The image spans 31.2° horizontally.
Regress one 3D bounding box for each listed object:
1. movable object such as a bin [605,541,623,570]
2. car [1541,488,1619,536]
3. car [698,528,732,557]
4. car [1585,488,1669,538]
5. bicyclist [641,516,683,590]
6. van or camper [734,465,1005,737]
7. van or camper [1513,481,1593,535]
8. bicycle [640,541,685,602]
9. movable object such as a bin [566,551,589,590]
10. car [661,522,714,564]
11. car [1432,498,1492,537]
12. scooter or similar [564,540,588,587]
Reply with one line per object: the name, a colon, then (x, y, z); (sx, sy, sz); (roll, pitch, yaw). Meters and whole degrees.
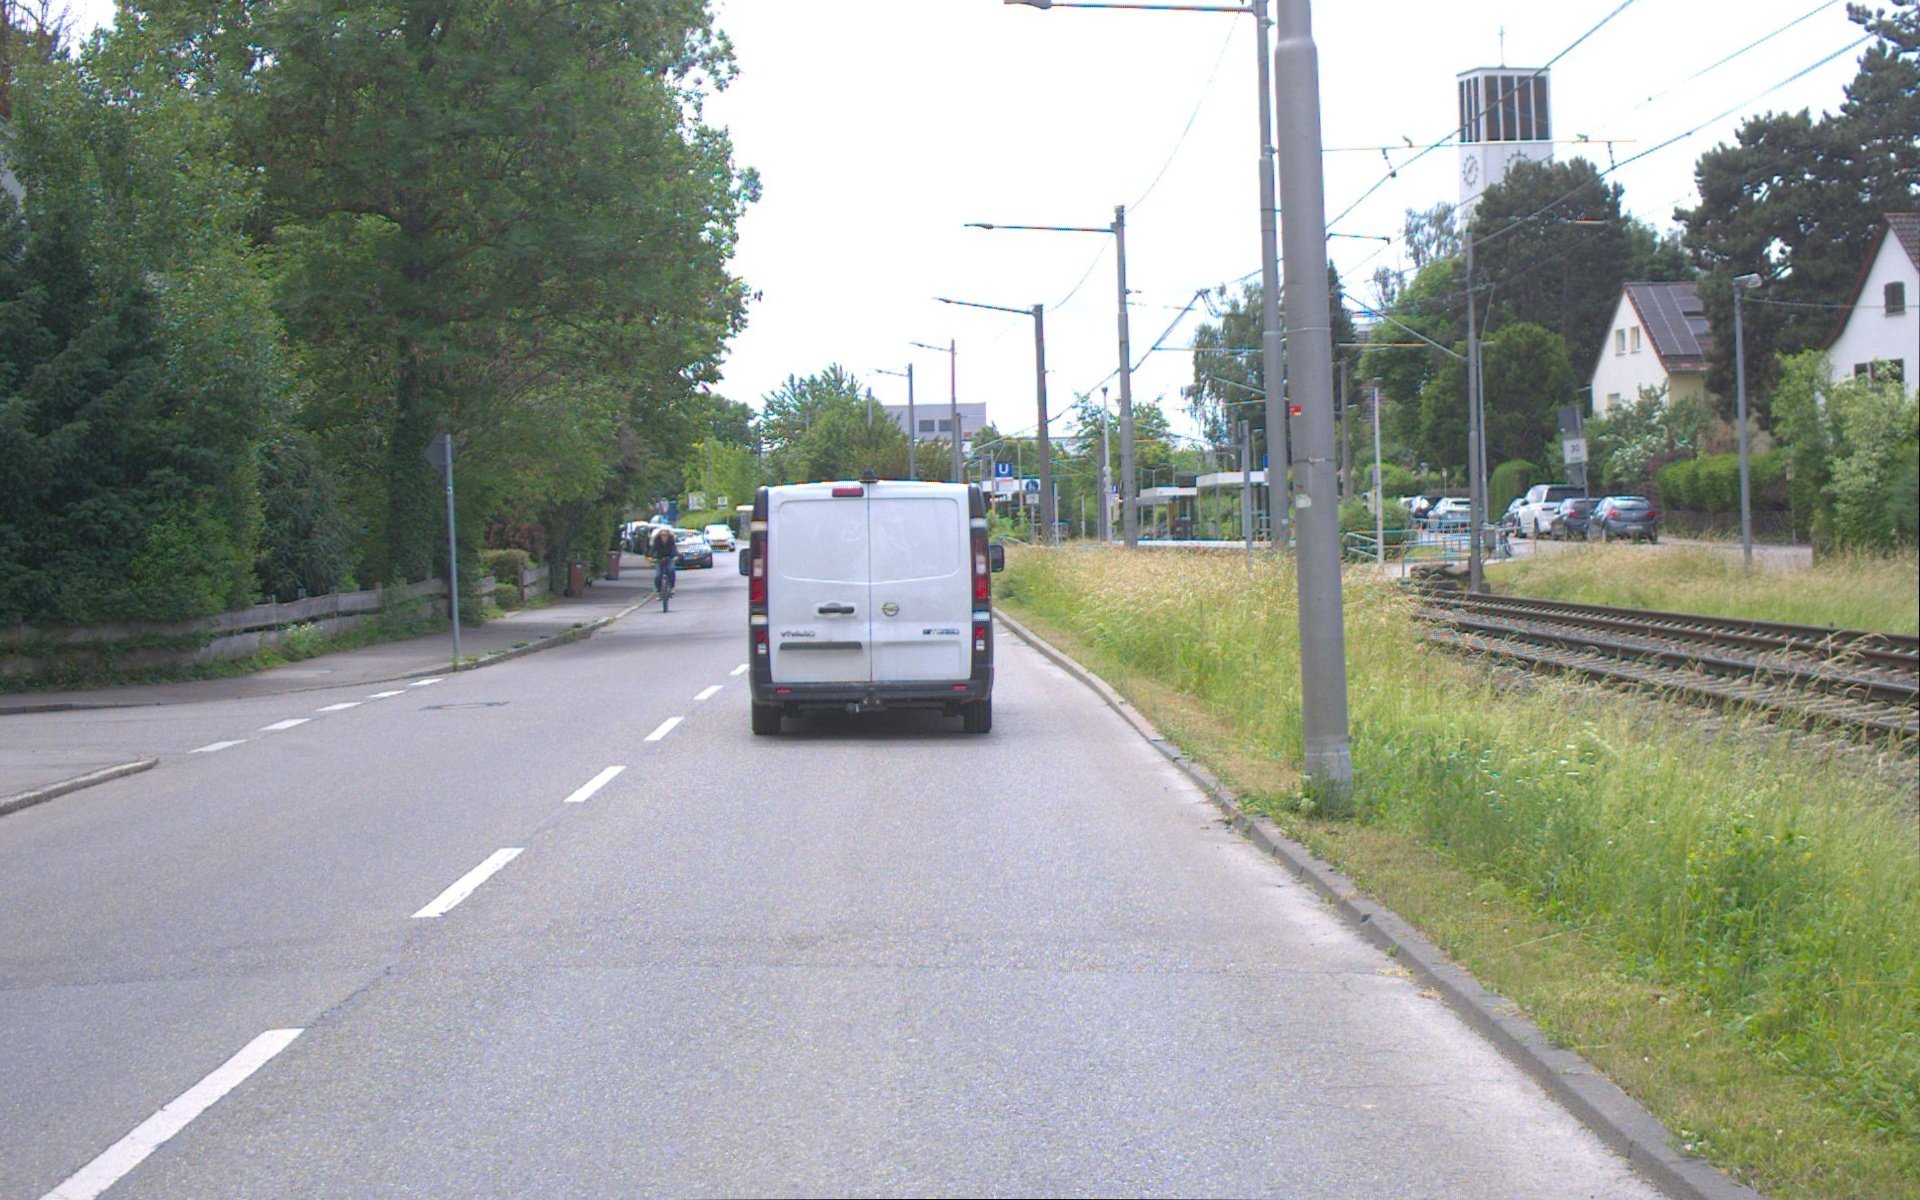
movable object such as a bin: (-11.311, -1.469, 112.444); (0.462, 0.927, 0.430); (2, 0, -18)
car: (20.859, -2.960, 115.825); (1.883, 1.517, 4.000); (-1, 1, 0)
car: (-13.059, -3.072, 183.313); (1.693, 1.425, 3.787); (-3, 1, -4)
car: (21.273, -2.781, 109.778); (1.883, 1.517, 4.000); (-1, 1, 0)
bicyclist: (-6.339, -1.003, 73.133); (0.778, 1.544, 0.870); (-2, 1, -1)
van or camper: (-0.688, -0.027, 27.571); (1.993, 2.007, 4.446); (0, 1, -1)
van or camper: (20.769, -3.231, 120.640); (1.905, 1.819, 5.048); (-1, 1, 0)
bicycle: (-6.322, -0.614, 73.145); (0.755, 1.222, 2.308); (-3, 1, -1)
movable object such as a bin: (-9.460, -0.735, 85.129); (0.513, 0.941, 0.568); (0, 1, -1)
car: (-10.472, -2.192, 131.829); (1.736, 1.499, 4.479); (-3, 2, -7)
car: (20.759, -3.410, 142.349); (1.883, 1.517, 4.000); (-1, 1, 0)
scooter or similar: (-10.113, -0.962, 90.601); (0.408, 1.195, 1.639); (-1, 1, 0)
